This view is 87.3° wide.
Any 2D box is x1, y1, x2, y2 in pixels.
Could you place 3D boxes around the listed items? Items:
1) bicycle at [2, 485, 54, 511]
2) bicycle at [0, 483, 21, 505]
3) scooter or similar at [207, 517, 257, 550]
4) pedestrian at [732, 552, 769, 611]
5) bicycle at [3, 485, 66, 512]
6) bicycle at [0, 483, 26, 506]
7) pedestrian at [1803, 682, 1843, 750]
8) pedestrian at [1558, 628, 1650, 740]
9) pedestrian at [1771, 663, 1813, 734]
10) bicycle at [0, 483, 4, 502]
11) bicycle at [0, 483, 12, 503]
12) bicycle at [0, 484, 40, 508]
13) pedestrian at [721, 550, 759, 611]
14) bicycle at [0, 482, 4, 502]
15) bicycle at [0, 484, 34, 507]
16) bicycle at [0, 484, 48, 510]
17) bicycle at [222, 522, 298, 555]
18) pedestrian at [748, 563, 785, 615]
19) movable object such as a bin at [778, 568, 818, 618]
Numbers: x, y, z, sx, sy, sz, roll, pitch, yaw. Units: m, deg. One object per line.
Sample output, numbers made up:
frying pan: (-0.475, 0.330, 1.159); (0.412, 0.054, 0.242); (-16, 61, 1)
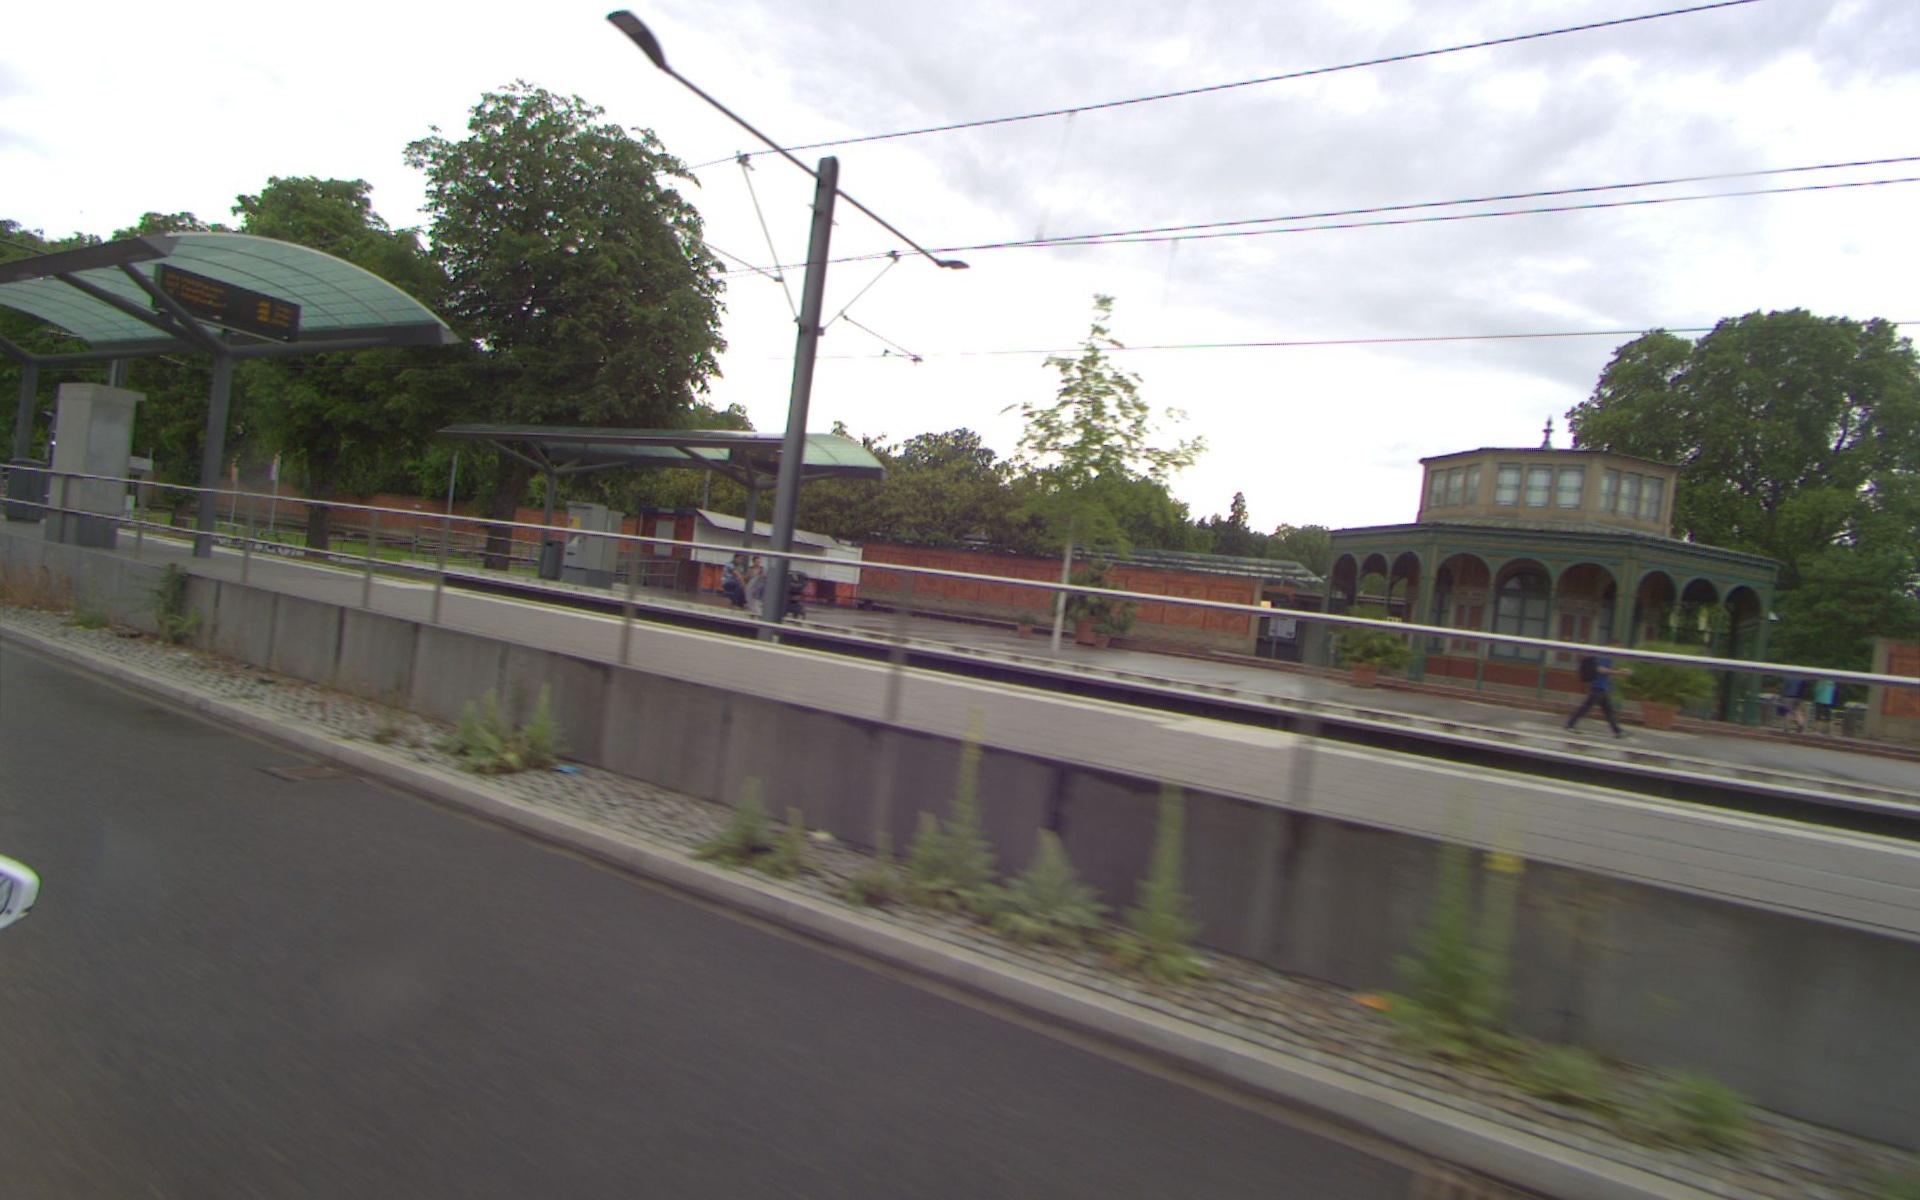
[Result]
bicycle: (-48.131, -5.277, 51.986); (0.641, 1.045, 1.813); (8, 1, 29)
bicycle: (-52.161, -5.831, 54.429); (0.641, 1.045, 1.813); (8, 1, 29)
scooter or similar: (-29.586, -2.701, 40.887); (0.424, 1.151, 1.545); (8, 1, 30)
pedestrian: (-4.660, -0.411, 22.416); (0.542, 1.242, 0.437); (7, 2, 32)
bicycle: (-47.396, -5.178, 51.531); (0.677, 1.045, 2.226); (8, 1, 29)
bicycle: (-50.979, -5.668, 53.461); (0.641, 1.047, 1.813); (8, 1, 29)
pedestrian: (22.346, 3.009, 26.057); (0.544, 1.677, 0.466); (7, 0, -25)
pedestrian: (11.582, 1.494, 18.134); (1.162, 1.814, 0.721); (8, 3, 32)
pedestrian: (21.617, 2.557, 26.134); (0.686, 1.730, 0.531); (5, -3, 42)
bicycle: (-53.426, -6.000, 54.815); (0.641, 1.045, 1.813); (8, 1, 29)
bicycle: (-52.827, -5.925, 54.574); (0.641, 1.045, 1.837); (8, 1, 29)
bicycle: (-49.628, -5.481, 52.780); (0.641, 1.045, 1.849); (8, 1, 29)
pedestrian: (-4.790, -0.428, 21.886); (0.542, 1.242, 0.437); (7, 2, 32)
bicycle: (-54.050, -6.091, 55.449); (0.641, 1.045, 1.813); (8, 1, 29)
bicycle: (-50.327, -5.571, 53.219); (0.641, 1.045, 1.813); (8, 1, 29)
bicycle: (-48.873, -5.377, 52.432); (0.641, 1.045, 1.813); (8, 1, 29)
bicycle: (-26.823, -2.339, 38.613); (0.560, 0.969, 2.324); (8, 1, 29)
pedestrian: (-4.147, -0.236, 21.553); (0.542, 1.022, 0.437); (7, 2, 32)
movable object such as a bin: (-3.574, -0.148, 22.214); (0.670, 1.022, 0.437); (7, 2, 32)
